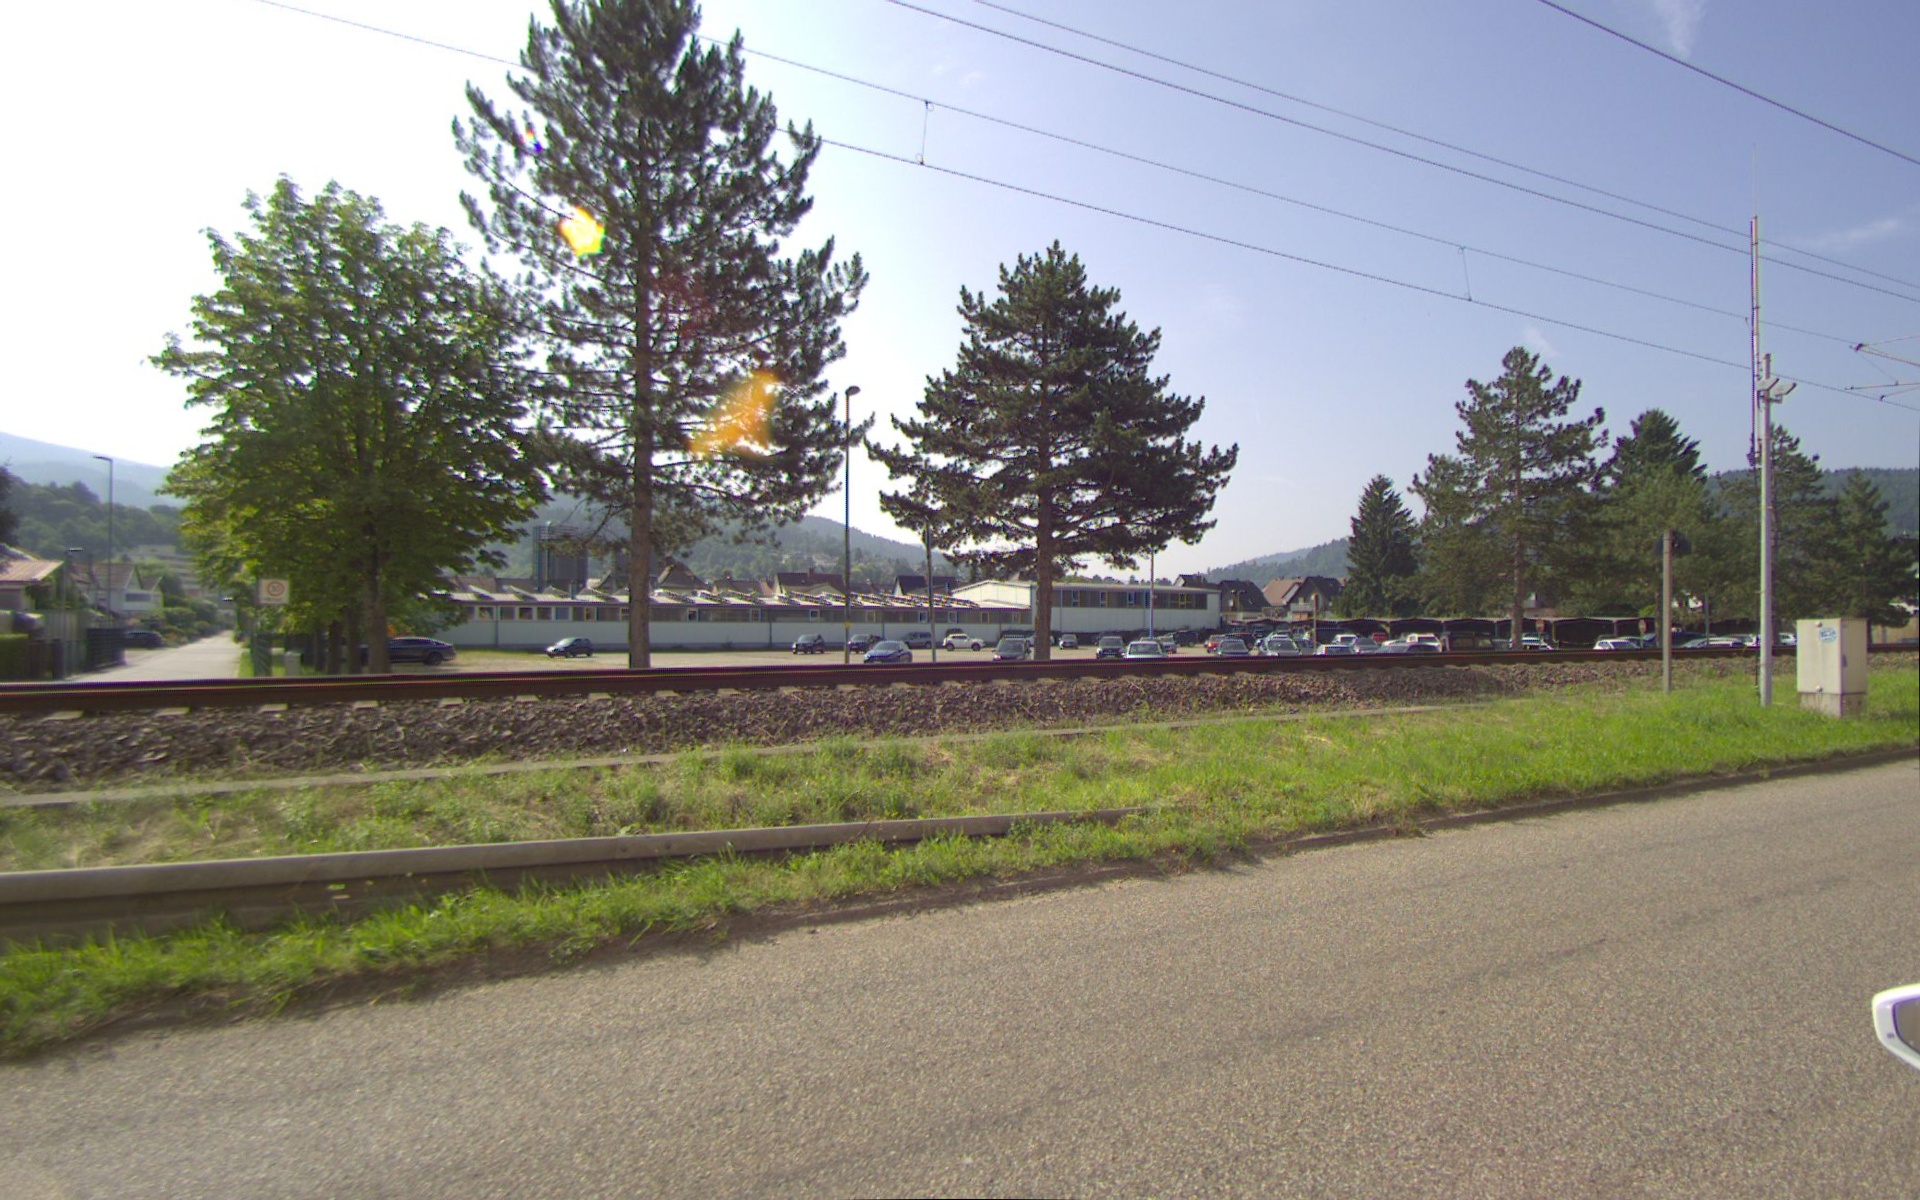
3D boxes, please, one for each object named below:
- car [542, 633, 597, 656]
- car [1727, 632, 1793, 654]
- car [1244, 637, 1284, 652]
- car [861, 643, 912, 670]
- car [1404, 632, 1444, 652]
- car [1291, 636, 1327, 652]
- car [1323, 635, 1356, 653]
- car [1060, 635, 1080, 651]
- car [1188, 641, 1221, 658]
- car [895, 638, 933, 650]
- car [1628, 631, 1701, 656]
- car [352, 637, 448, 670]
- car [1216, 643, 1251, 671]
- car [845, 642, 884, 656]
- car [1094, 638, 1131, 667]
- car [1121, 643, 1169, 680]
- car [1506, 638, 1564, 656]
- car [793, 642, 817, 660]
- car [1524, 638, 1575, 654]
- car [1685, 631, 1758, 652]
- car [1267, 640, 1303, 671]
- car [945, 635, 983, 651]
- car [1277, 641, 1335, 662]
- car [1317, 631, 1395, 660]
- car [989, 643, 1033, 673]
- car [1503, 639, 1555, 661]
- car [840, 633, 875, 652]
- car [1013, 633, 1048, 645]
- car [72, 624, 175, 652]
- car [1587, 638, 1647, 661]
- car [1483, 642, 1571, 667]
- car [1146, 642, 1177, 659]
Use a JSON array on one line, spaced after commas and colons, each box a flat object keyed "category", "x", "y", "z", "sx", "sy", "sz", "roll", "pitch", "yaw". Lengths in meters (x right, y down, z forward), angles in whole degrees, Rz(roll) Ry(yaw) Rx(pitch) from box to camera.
[{"category": "car", "x": -29.293, "y": 3.348, "z": 75.376, "sx": 1.655, "sy": 1.664, "sz": 3.852, "roll": -1, "pitch": -2, "yaw": 22}, {"category": "car", "x": 66.074, "y": 3.496, "z": 83.024, "sx": 1.801, "sy": 1.688, "sz": 3.958, "roll": 1, "pitch": -1, "yaw": -37}, {"category": "car", "x": 28.497, "y": 4.166, "z": 94.236, "sx": 3.465, "sy": 1.342, "sz": 1.458, "roll": -1, "pitch": -2, "yaw": 10}, {"category": "car", "x": -3.865, "y": 2.975, "z": 53.721, "sx": 1.654, "sy": 1.350, "sz": 3.855, "roll": -1, "pitch": -2, "yaw": 13}, {"category": "car", "x": 32.774, "y": 2.946, "z": 71.036, "sx": 1.428, "sy": 1.342, "sz": 3.539, "roll": 0, "pitch": -2, "yaw": 4}, {"category": "car", "x": 29.793, "y": 3.735, "z": 85.821, "sx": 1.430, "sy": 1.342, "sz": 3.533, "roll": 0, "pitch": -2, "yaw": -8}, {"category": "car", "x": 28.989, "y": 3.329, "z": 76.771, "sx": 1.428, "sy": 1.342, "sz": 3.539, "roll": 0, "pitch": -2, "yaw": 4}, {"category": "car", "x": 10.640, "y": 4.126, "z": 96.901, "sx": 1.535, "sy": 1.543, "sz": 3.539, "roll": -1, "pitch": -2, "yaw": 14}, {"category": "car", "x": 20.434, "y": 4.137, "z": 84.057, "sx": 1.430, "sy": 1.342, "sz": 3.533, "roll": 0, "pitch": -2, "yaw": -8}, {"category": "car", "x": -4.556, "y": 4.375, "z": 99.691, "sx": 3.496, "sy": 1.125, "sz": 1.328, "roll": 1, "pitch": -2, "yaw": -31}, {"category": "car", "x": 48.000, "y": 2.944, "z": 68.511, "sx": 3.729, "sy": 1.710, "sz": 1.647, "roll": 0, "pitch": -2, "yaw": 7}, {"category": "car", "x": -27.865, "y": 2.627, "z": 50.000, "sx": 3.966, "sy": 1.568, "sz": 1.665, "roll": 1, "pitch": -2, "yaw": -39}, {"category": "car", "x": 14.769, "y": 3.043, "z": 54.142, "sx": 1.654, "sy": 1.408, "sz": 3.854, "roll": -1, "pitch": -2, "yaw": 17}, {"category": "car", "x": -9.238, "y": 4.706, "z": 97.078, "sx": 3.496, "sy": 1.342, "sz": 1.446, "roll": 1, "pitch": -2, "yaw": -31}, {"category": "car", "x": 9.368, "y": 3.186, "z": 61.542, "sx": 1.654, "sy": 1.664, "sz": 3.854, "roll": -1, "pitch": -2, "yaw": 17}, {"category": "car", "x": 8.103, "y": 2.644, "z": 43.766, "sx": 1.654, "sy": 1.462, "sz": 3.854, "roll": -1, "pitch": -2, "yaw": 17}, {"category": "car", "x": 43.584, "y": 3.569, "z": 76.204, "sx": 3.465, "sy": 1.342, "sz": 1.458, "roll": -1, "pitch": -2, "yaw": 8}, {"category": "car", "x": -13.370, "y": 4.354, "z": 86.662, "sx": 1.964, "sy": 1.461, "sz": 3.995, "roll": 0, "pitch": -2, "yaw": -9}, {"category": "car", "x": 50.291, "y": 3.892, "z": 85.739, "sx": 3.490, "sy": 1.342, "sz": 1.448, "roll": -2, "pitch": -3, "yaw": 45}, {"category": "car", "x": 49.345, "y": 2.709, "z": 65.161, "sx": 3.465, "sy": 1.342, "sz": 1.458, "roll": -1, "pitch": -2, "yaw": 8}, {"category": "car", "x": 16.530, "y": 2.798, "z": 51.253, "sx": 1.654, "sy": 1.526, "sz": 3.854, "roll": -1, "pitch": -2, "yaw": 17}, {"category": "car", "x": 0.375, "y": 4.076, "z": 95.200, "sx": 3.465, "sy": 1.543, "sz": 1.568, "roll": 0, "pitch": -2, "yaw": 4}, {"category": "car", "x": 22.107, "y": 3.288, "z": 64.329, "sx": 3.274, "sy": 1.285, "sz": 1.458, "roll": -1, "pitch": -2, "yaw": 8}, {"category": "car", "x": 19.645, "y": 2.261, "z": 49.972, "sx": 3.450, "sy": 1.375, "sz": 1.520, "roll": -1, "pitch": -2, "yaw": 15}, {"category": "car", "x": 2.667, "y": 2.947, "z": 51.749, "sx": 1.654, "sy": 1.425, "sz": 3.856, "roll": -1, "pitch": -2, "yaw": 12}, {"category": "car", "x": 36.290, "y": 3.143, "z": 64.124, "sx": 1.428, "sy": 1.342, "sz": 3.539, "roll": 0, "pitch": -2, "yaw": 3}, {"category": "car", "x": -8.817, "y": 3.657, "z": 86.535, "sx": 1.536, "sy": 1.543, "sz": 3.536, "roll": -1, "pitch": -2, "yaw": 22}, {"category": "car", "x": 7.538, "y": 4.158, "z": 107.153, "sx": 3.496, "sy": 1.342, "sz": 1.446, "roll": 1, "pitch": -2, "yaw": -31}, {"category": "car", "x": -44.799, "y": 2.041, "z": 53.890, "sx": 1.443, "sy": 1.472, "sz": 3.994, "roll": -1, "pitch": -2, "yaw": 29}, {"category": "car", "x": 39.771, "y": 3.002, "z": 60.885, "sx": 1.428, "sy": 1.342, "sz": 3.539, "roll": 0, "pitch": -2, "yaw": 3}, {"category": "car", "x": 30.495, "y": 2.936, "z": 54.116, "sx": 3.779, "sy": 1.342, "sz": 1.566, "roll": -1, "pitch": -2, "yaw": 9}, {"category": "car", "x": 16.910, "y": 4.220, "z": 84.488, "sx": 1.430, "sy": 1.342, "sz": 3.533, "roll": 0, "pitch": -2, "yaw": -8}]
